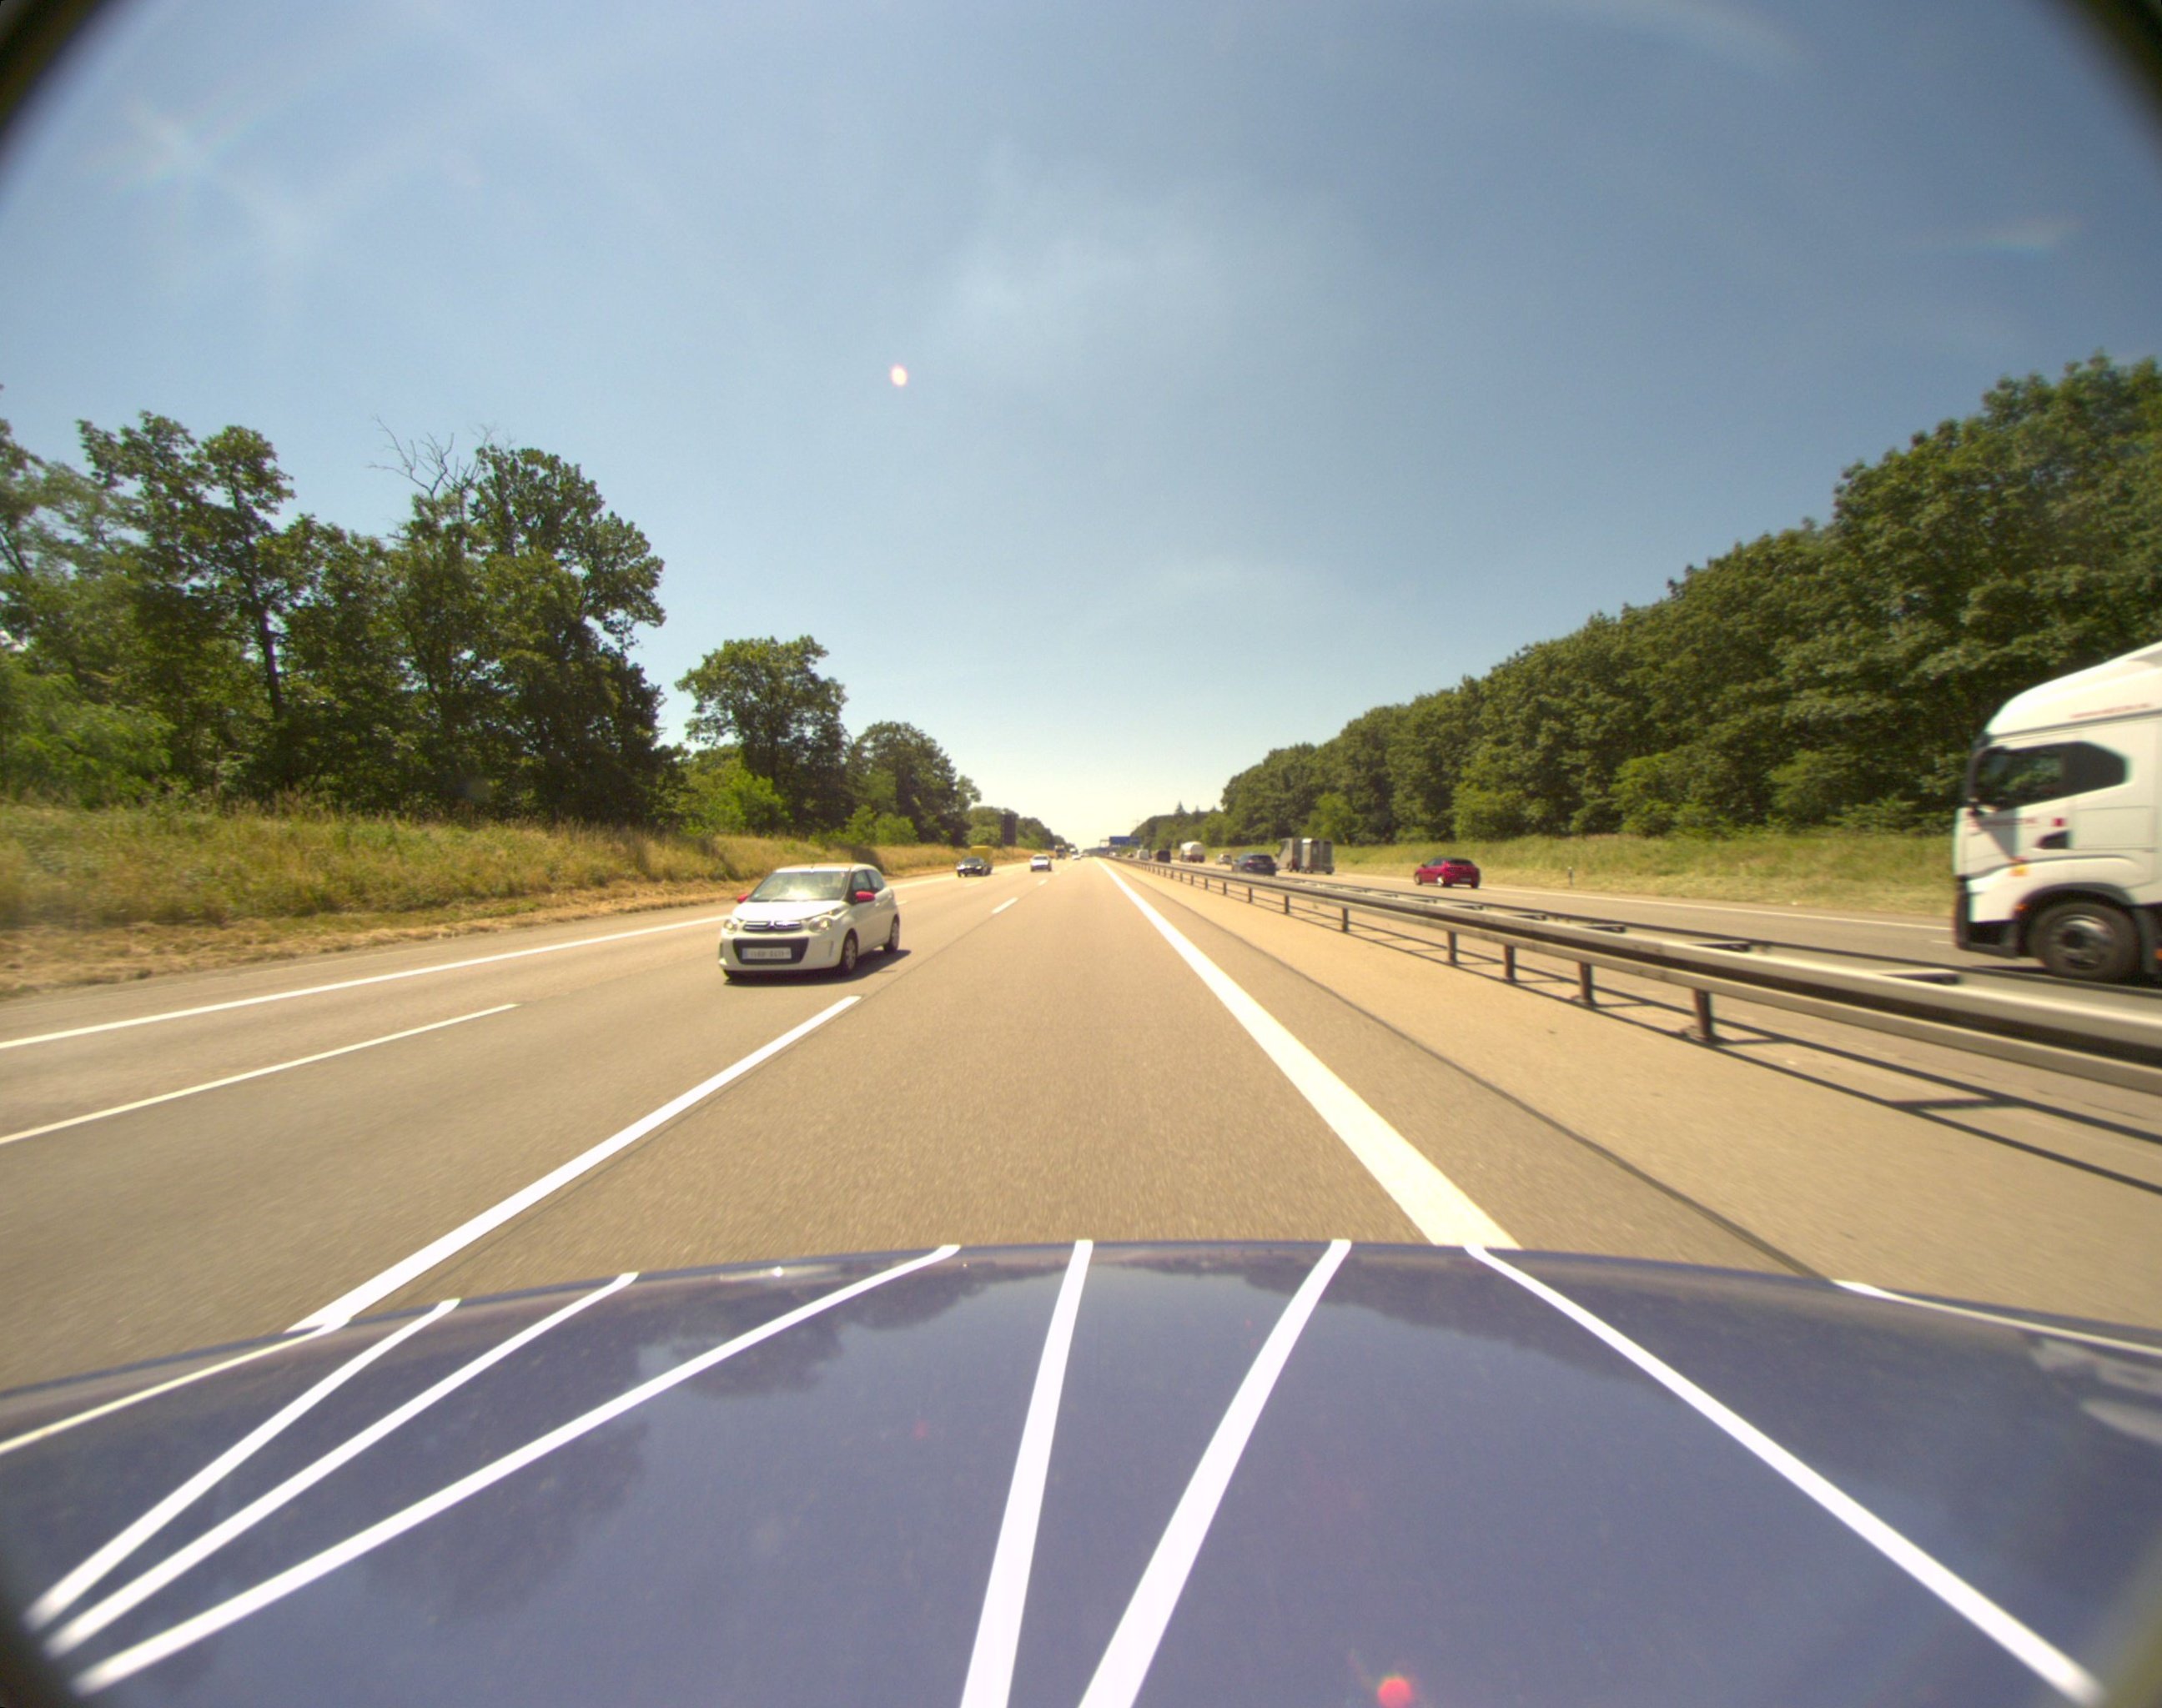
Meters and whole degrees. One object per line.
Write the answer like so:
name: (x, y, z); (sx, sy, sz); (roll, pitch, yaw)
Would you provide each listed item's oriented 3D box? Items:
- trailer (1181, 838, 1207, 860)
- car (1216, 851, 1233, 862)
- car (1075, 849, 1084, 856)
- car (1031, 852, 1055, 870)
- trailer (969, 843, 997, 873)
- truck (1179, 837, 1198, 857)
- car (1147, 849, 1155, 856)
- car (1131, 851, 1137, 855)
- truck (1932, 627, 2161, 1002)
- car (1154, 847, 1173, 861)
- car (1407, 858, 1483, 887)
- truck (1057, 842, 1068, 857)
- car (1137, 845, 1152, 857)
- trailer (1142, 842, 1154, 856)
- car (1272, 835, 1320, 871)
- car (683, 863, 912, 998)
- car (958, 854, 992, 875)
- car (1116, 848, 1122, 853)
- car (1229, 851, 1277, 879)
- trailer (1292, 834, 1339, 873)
trailer: (19.049, -0.826, 128.639); (2.689, 3.414, 11.799); (1, 0, 1)
car: (19.412, 0.343, 102.778); (1.573, 1.456, 4.035); (1, 0, 0)
car: (-0.313, -0.337, 171.223); (1.796, 1.412, 4.000); (-2, 0, 0)
car: (-3.313, 0.599, 66.508); (1.749, 1.457, 3.980); (-2, 0, 1)
trailer: (-7.943, 0.314, 61.885); (1.707, 2.276, 3.839); (-2, 0, 0)
truck: (19.118, -1.166, 135.469); (2.689, 3.414, 6.144); (1, 0, 1)
car: (16.249, -0.309, 176.875); (1.637, 1.464, 3.937); (1, 0, 1)
car: (17.243, -0.270, 249.211); (1.678, 1.435, 5.135); (1, 0, 1)
truck: (12.763, -0.392, 6.980); (2.675, 3.967, 6.340); (1, 0, 0)
car: (10.799, -0.005, 99.940); (1.881, 1.837, 5.834); (1, 0, 1)
car: (17.276, 0.837, 36.280); (1.643, 1.268, 4.132); (1, 0, 0)
truck: (-4.892, -1.159, 206.355); (2.605, 3.811, 5.969); (-2, 0, 1)
car: (11.257, -0.560, 134.810); (2.001, 1.936, 5.741); (1, 0, 0)
trailer: (21.532, -1.622, 245.922); (2.711, 4.137, 14.337); (2, 0, 1)
car: (18.004, -0.088, 64.067); (2.218, 2.841, 6.453); (1, 0, 0)
car: (-3.815, 0.937, 11.045); (1.712, 1.486, 4.024); (-2, 0, 1)
car: (-7.973, 0.768, 57.575); (1.826, 1.447, 4.788); (-2, 0, 0)
car: (13.076, -1.225, 260.232); (1.713, 1.402, 5.083); (2, 1, 1)
car: (9.580, 0.569, 42.548); (1.621, 1.473, 4.624); (1, 0, 0)
trailer: (17.986, -0.075, 58.528); (2.218, 2.841, 4.584); (1, 0, 0)
